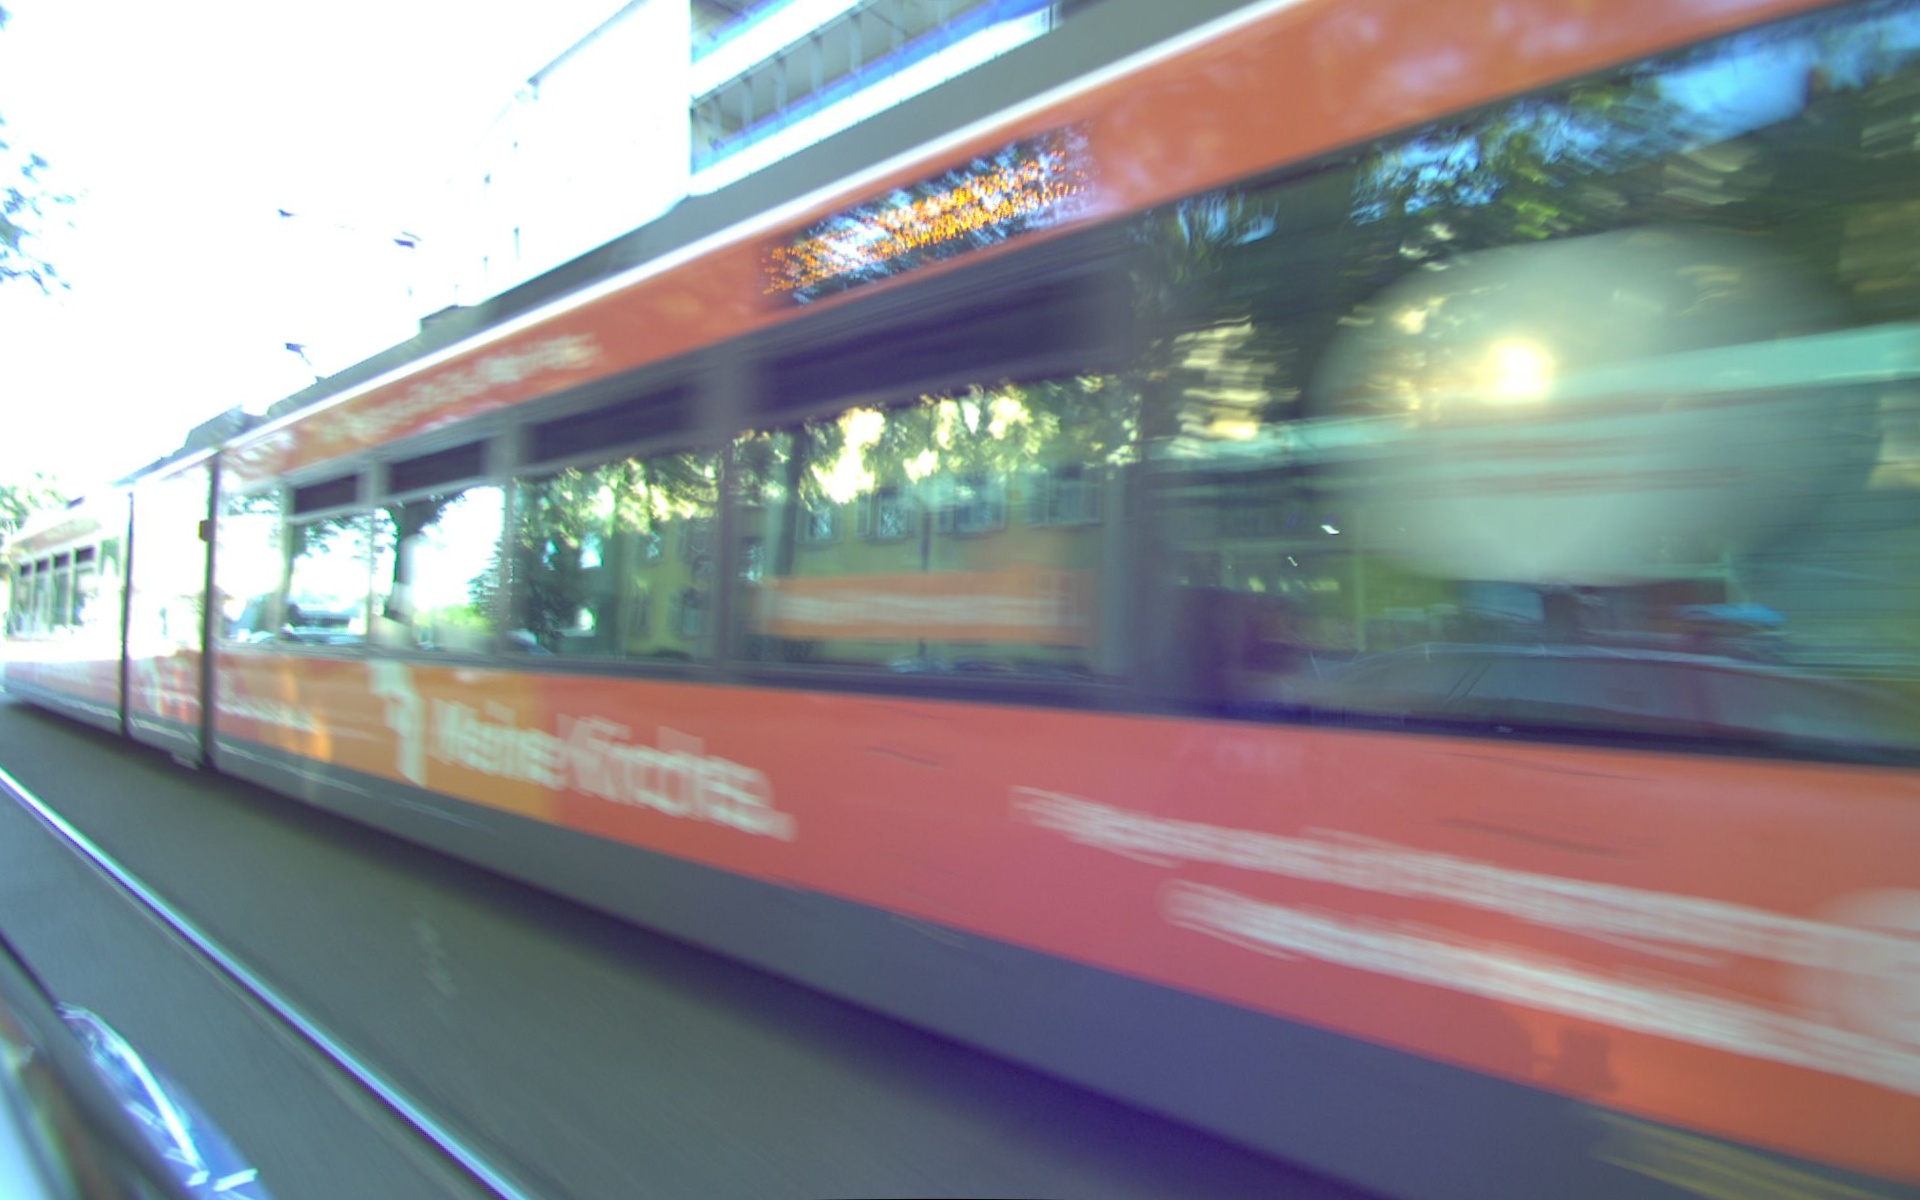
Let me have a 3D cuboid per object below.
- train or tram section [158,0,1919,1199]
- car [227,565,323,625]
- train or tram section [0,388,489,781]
[{"bbox_3d":[-0.858,-0.220,5.440,14.190,3.512,2.878,-1,-2,41],"label":"train or tram section"},{"bbox_3d":[-23.172,-0.103,34.174,1.970,1.846,4.228,3,-3,-43],"label":"car"},{"bbox_3d":[-11.192,-0.016,14.537,13.362,3.512,2.878,-1,-2,41],"label":"train or tram section"}]
